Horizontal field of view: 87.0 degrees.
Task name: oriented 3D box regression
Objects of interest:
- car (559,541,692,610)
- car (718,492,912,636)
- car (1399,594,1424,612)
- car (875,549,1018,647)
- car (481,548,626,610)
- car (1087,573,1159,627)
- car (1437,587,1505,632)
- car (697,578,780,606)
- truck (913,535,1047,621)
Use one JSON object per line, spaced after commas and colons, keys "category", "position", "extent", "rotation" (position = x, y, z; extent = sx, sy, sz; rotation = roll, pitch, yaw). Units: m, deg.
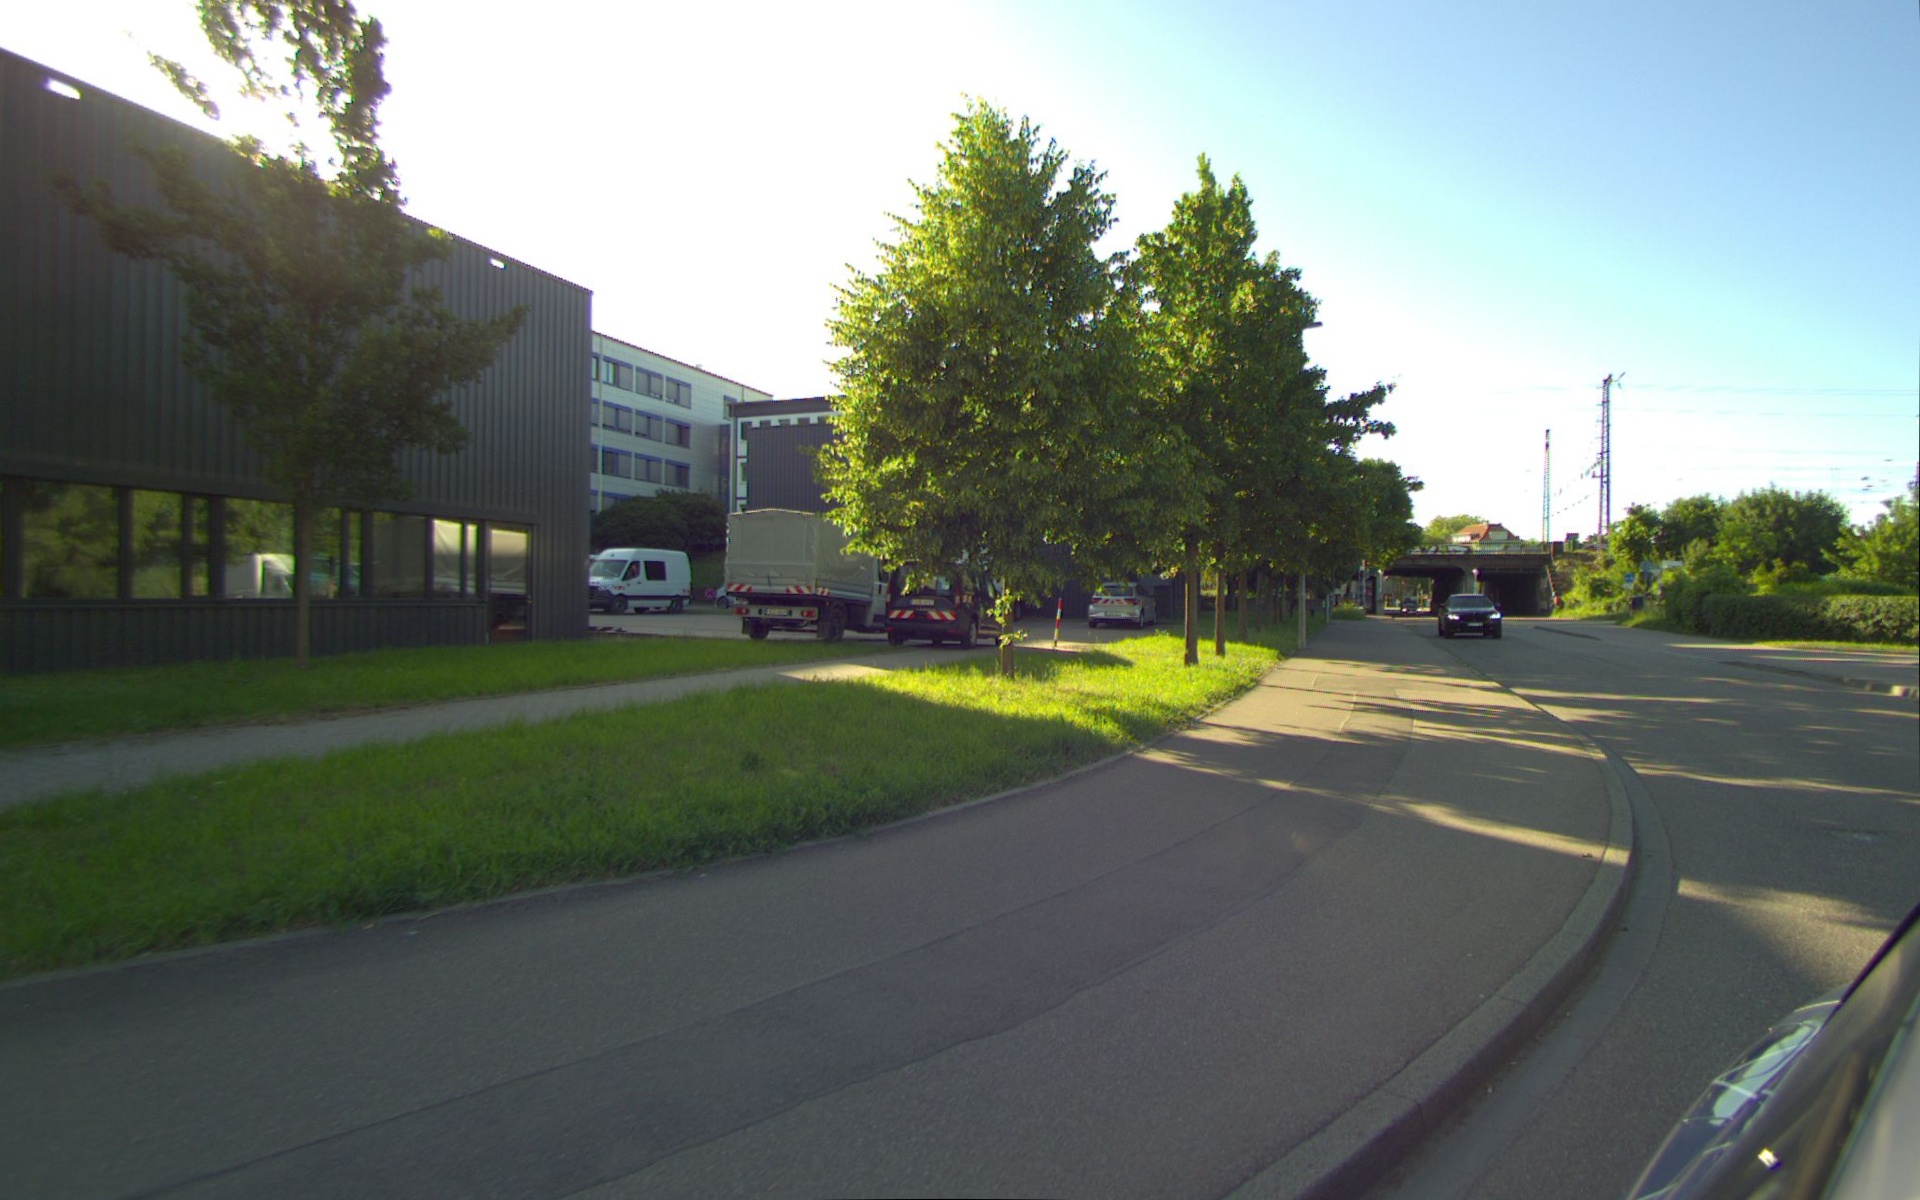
{"category": "car", "position": [-13.176, -0.921, 40.345], "extent": [2.030, 2.520, 5.795], "rotation": [0, 0, 18]}
{"category": "car", "position": [-3.027, -0.623, 22.489], "extent": [2.207, 2.808, 5.105], "rotation": [0, -2, 18]}
{"category": "car", "position": [41.474, 0.267, 92.824], "extent": [2.017, 1.653, 4.573], "rotation": [0, 0, 25]}
{"category": "car", "position": [-0.166, -0.068, 21.728], "extent": [1.875, 1.881, 4.218], "rotation": [1, 0, 17]}
{"category": "car", "position": [-16.087, -0.791, 40.433], "extent": [2.223, 2.284, 5.759], "rotation": [0, 0, 18]}
{"category": "car", "position": [5.290, -0.063, 32.588], "extent": [1.754, 1.503, 3.632], "rotation": [1, 3, 18]}
{"category": "car", "position": [20.165, 0.347, 40.111], "extent": [2.015, 1.653, 4.579], "rotation": [0, 0, 22]}
{"category": "car", "position": [-11.875, -0.424, 54.267], "extent": [3.947, 1.438, 1.922], "rotation": [1, 0, 18]}
{"category": "truck", "position": [0.851, -0.719, 35.625], "extent": [2.549, 2.726, 6.368], "rotation": [0, 0, 23]}
